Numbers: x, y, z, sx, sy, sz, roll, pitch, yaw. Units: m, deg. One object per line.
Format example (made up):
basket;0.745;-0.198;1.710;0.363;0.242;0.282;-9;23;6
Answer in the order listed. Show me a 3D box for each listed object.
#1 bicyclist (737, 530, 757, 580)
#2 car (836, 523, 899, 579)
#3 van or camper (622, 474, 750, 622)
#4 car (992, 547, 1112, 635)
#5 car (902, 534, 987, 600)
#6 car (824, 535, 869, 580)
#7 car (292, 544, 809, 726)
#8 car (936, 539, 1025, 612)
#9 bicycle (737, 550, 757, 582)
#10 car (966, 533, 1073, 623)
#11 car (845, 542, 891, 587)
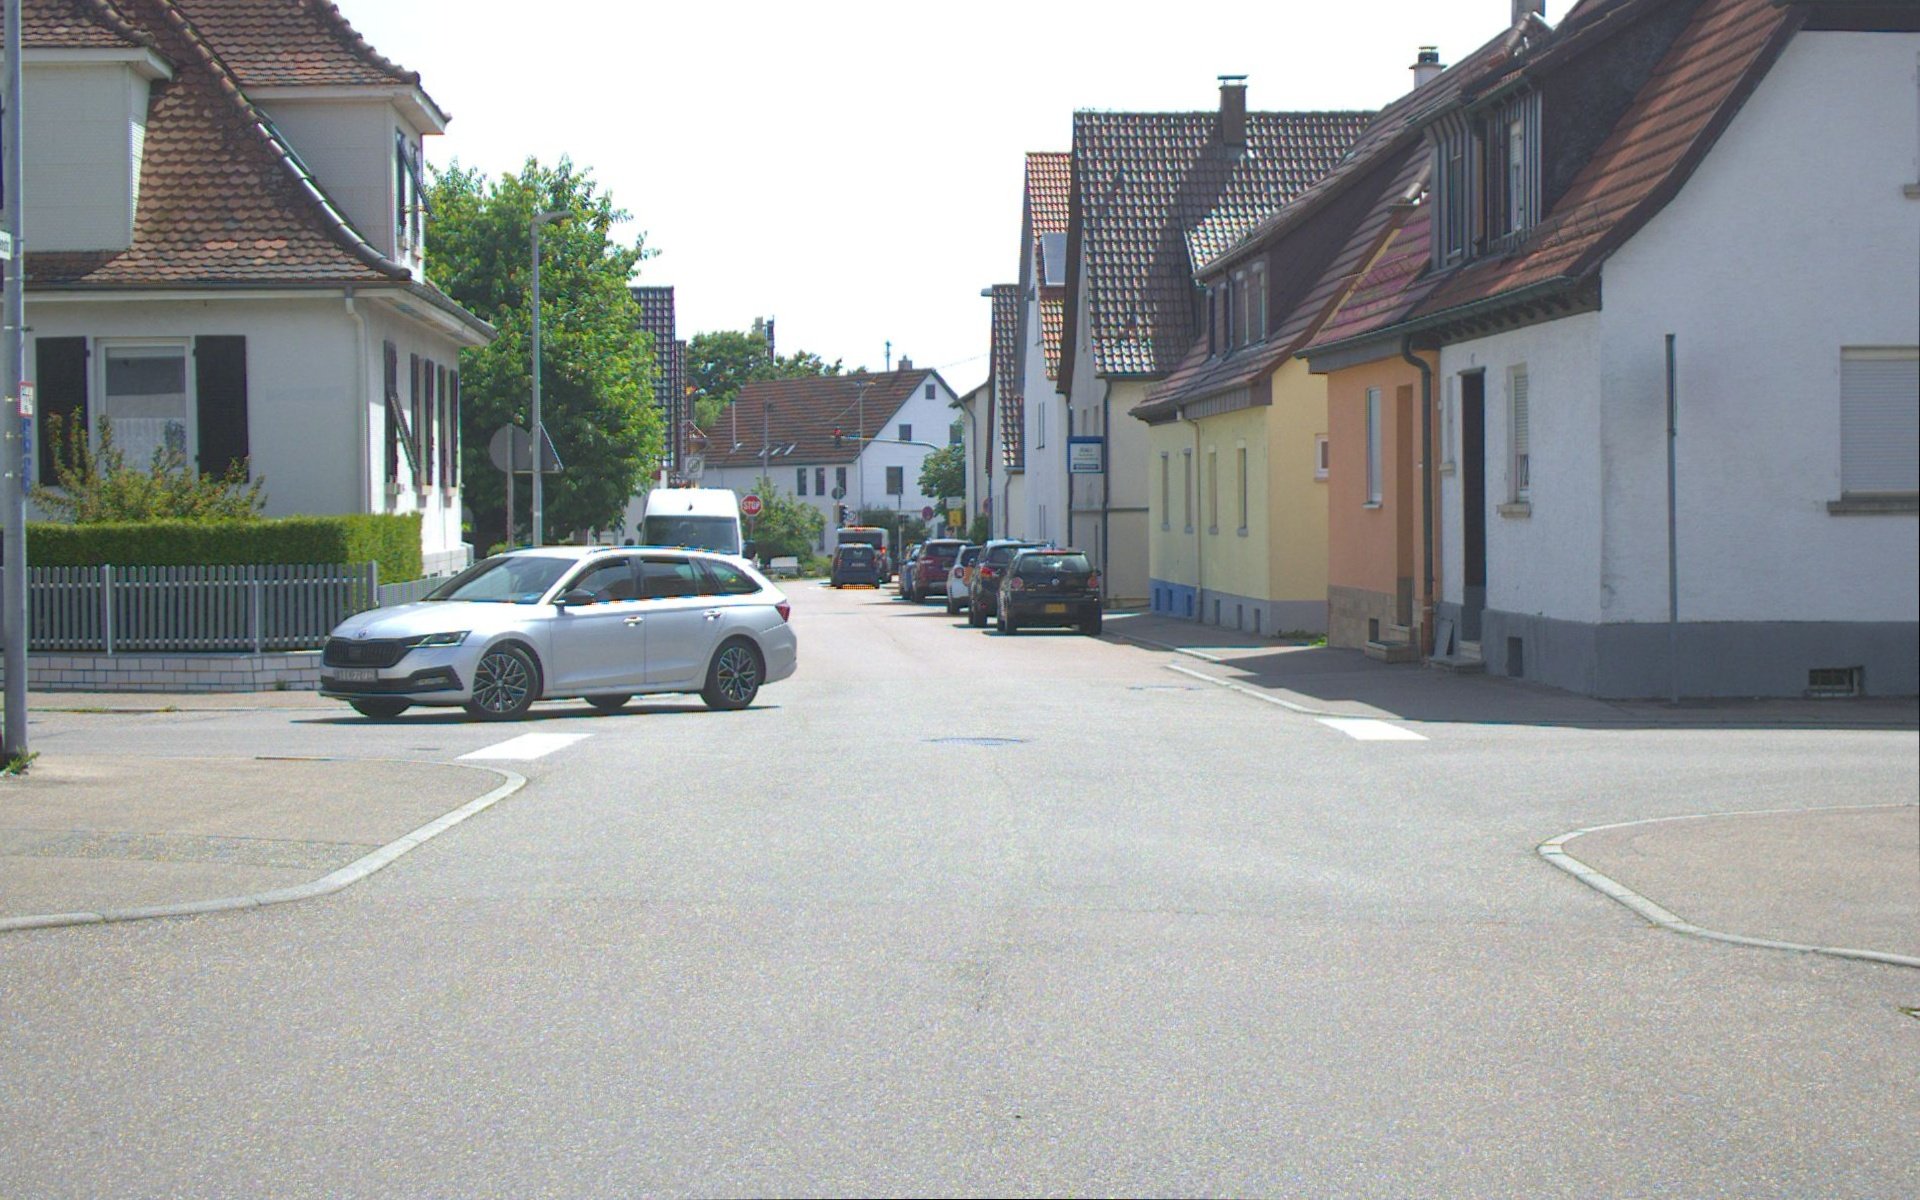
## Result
bicyclist;-7.662;-1.638;123.725;0.713;1.792;0.942;0;1;-5
car;-3.634;-1.953;136.188;2.129;2.151;4.736;0;1;3
van or camper;-5.001;-0.974;63.521;2.184;2.563;6.808;1;1;-3
car;1.534;-0.171;58.303;1.610;1.426;3.755;0;1;-5
car;-0.437;-0.904;91.000;1.875;1.694;4.184;0;1;-5
car;-4.140;-1.559;125.882;1.516;1.619;3.184;0;1;0
car;-3.410;0.241;29.484;1.757;1.433;4.578;1;1;36
car;0.429;-0.557;75.989;1.673;1.553;3.041;0;1;-5
bicycle;-7.662;-1.230;123.589;0.670;1.128;2.189;0;1;-4
car;1.078;-0.434;64.065;1.728;1.594;4.254;0;1;-2
car;-3.246;-1.263;121.949;1.516;1.561;3.184;0;1;0
